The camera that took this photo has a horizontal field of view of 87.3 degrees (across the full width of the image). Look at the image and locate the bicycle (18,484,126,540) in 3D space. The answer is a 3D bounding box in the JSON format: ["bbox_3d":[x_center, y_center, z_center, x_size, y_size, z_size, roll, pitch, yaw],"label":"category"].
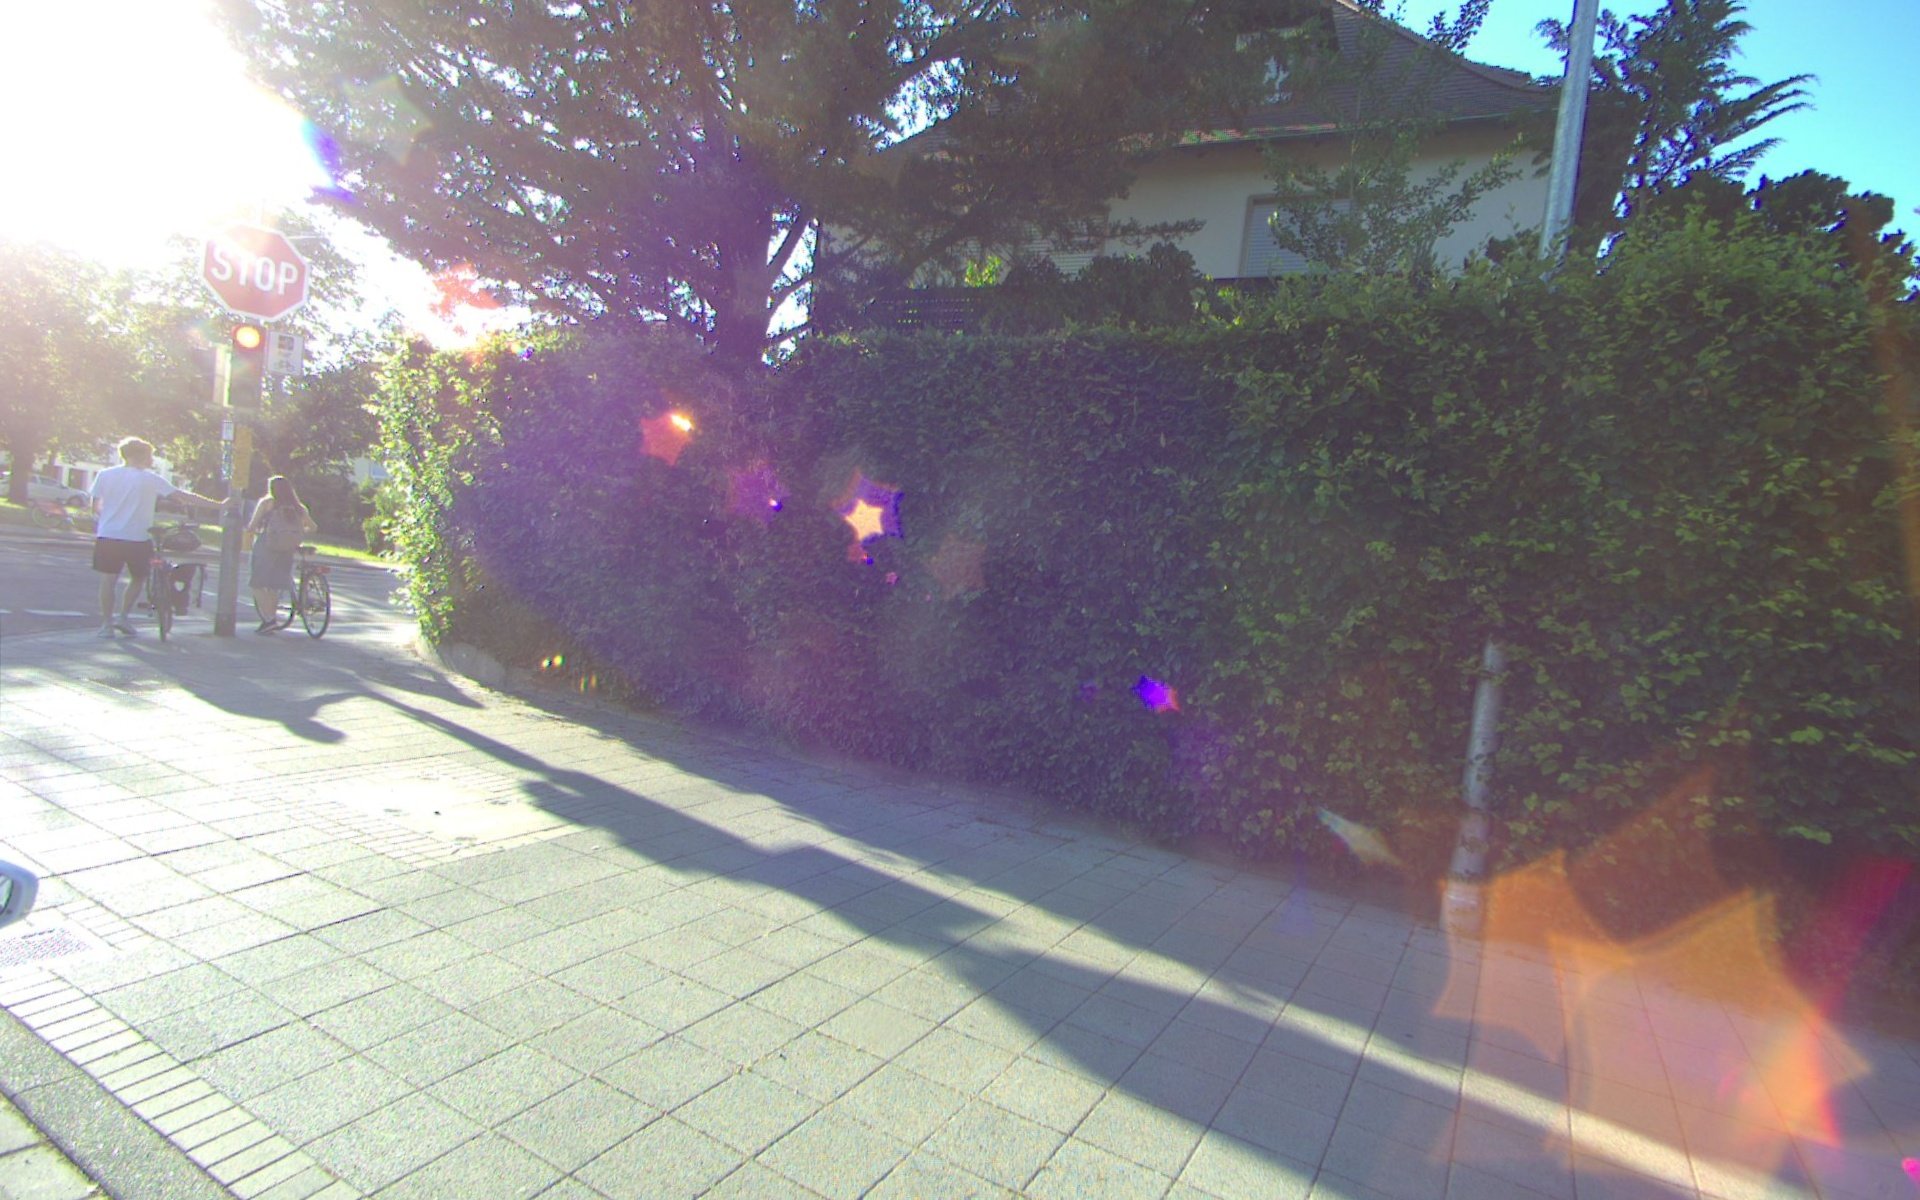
[{"bbox_3d":[-23.203,-2.286,26.322,0.609,1.146,1.956,8,1,32],"label":"bicycle"}]

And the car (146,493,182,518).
[{"bbox_3d":[-55.269,-6.573,69.886,1.654,1.436,3.507,6,1,-36],"label":"car"}]

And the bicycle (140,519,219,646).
[{"bbox_3d":[-7.702,-0.202,9.899,0.484,1.112,1.770,3,3,-41],"label":"bicycle"}]

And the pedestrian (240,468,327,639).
[{"bbox_3d":[-7.198,-0.494,10.696,0.665,1.733,0.615,2,6,-40],"label":"pedestrian"}]

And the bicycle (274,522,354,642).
[{"bbox_3d":[-7.063,-0.221,10.973,0.484,1.158,1.579,3,4,-40],"label":"bicycle"}]

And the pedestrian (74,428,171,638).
[{"bbox_3d":[-8.036,-0.626,9.663,0.666,1.892,0.871,-1,5,-41],"label":"pedestrian"}]

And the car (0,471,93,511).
[{"bbox_3d":[-46.388,-5.494,50.555,1.569,1.445,3.854,7,0,26],"label":"car"}]
